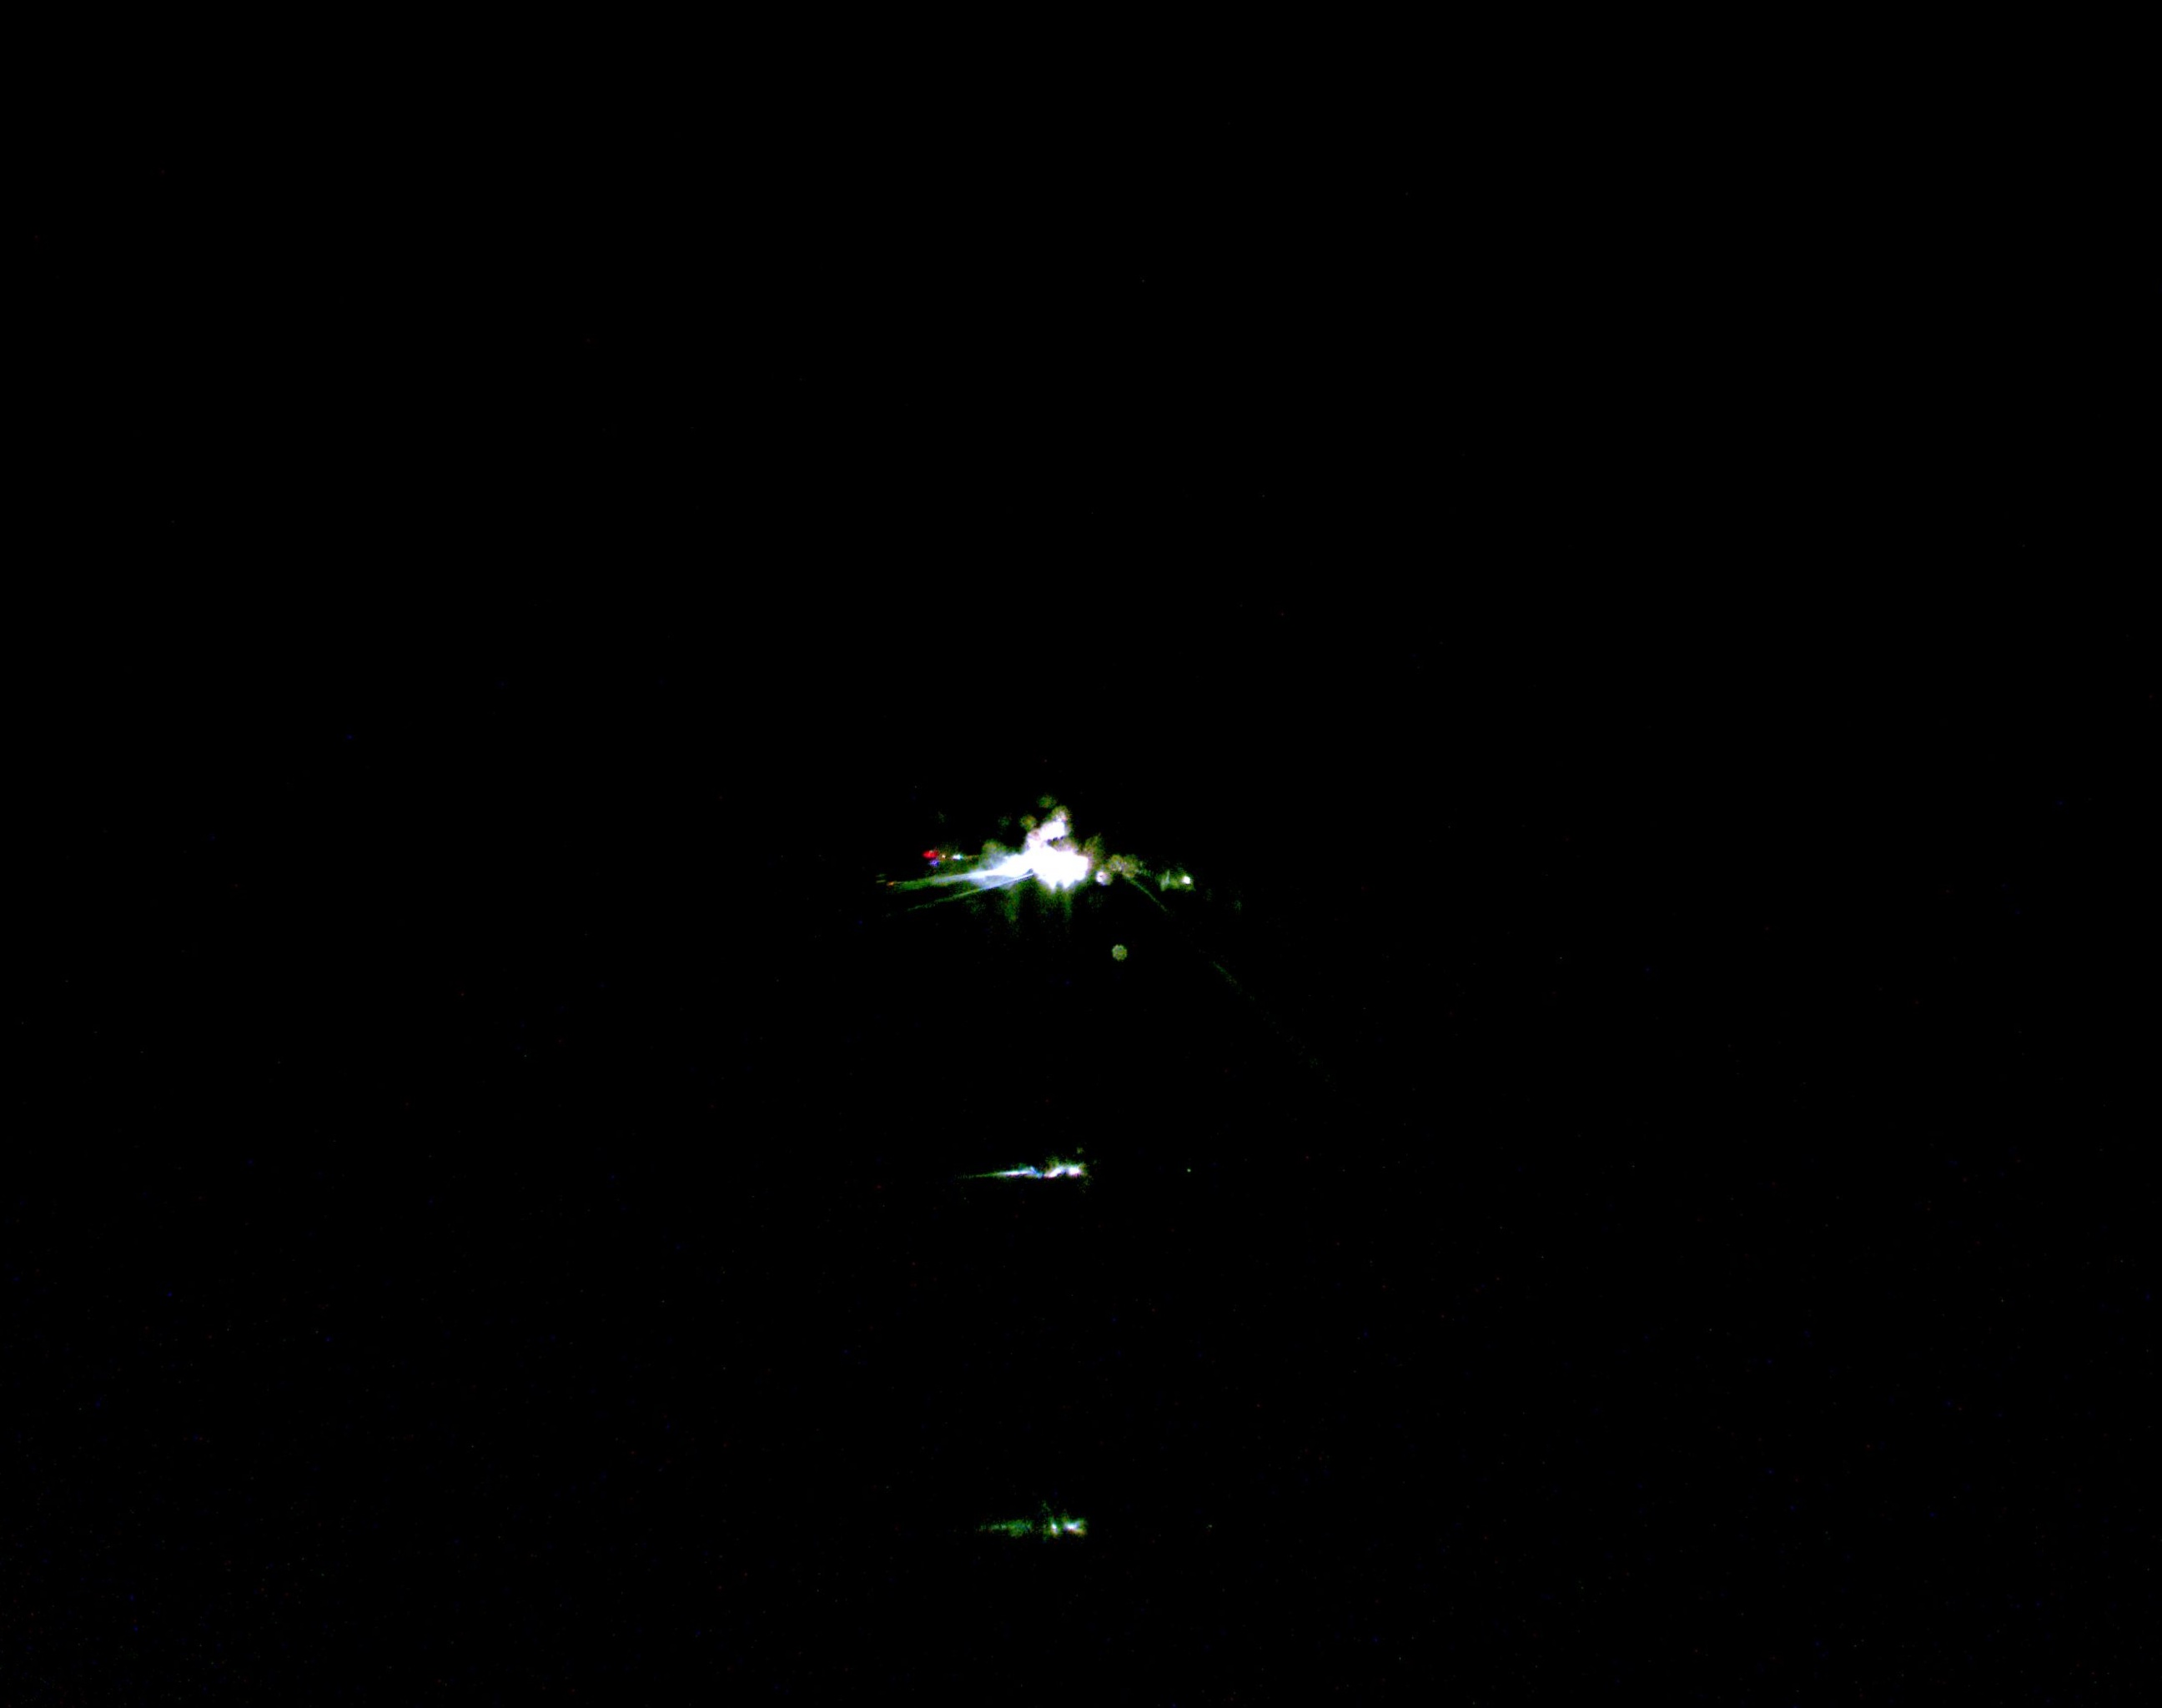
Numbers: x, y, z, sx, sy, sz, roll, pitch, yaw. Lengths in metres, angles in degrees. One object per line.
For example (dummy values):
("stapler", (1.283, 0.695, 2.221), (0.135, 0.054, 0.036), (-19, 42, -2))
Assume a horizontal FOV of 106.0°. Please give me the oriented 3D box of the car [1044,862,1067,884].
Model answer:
("car", (-2.405, 1.844, 78.040), (1.987, 2.014, 3.999), (3, -2, 0))
